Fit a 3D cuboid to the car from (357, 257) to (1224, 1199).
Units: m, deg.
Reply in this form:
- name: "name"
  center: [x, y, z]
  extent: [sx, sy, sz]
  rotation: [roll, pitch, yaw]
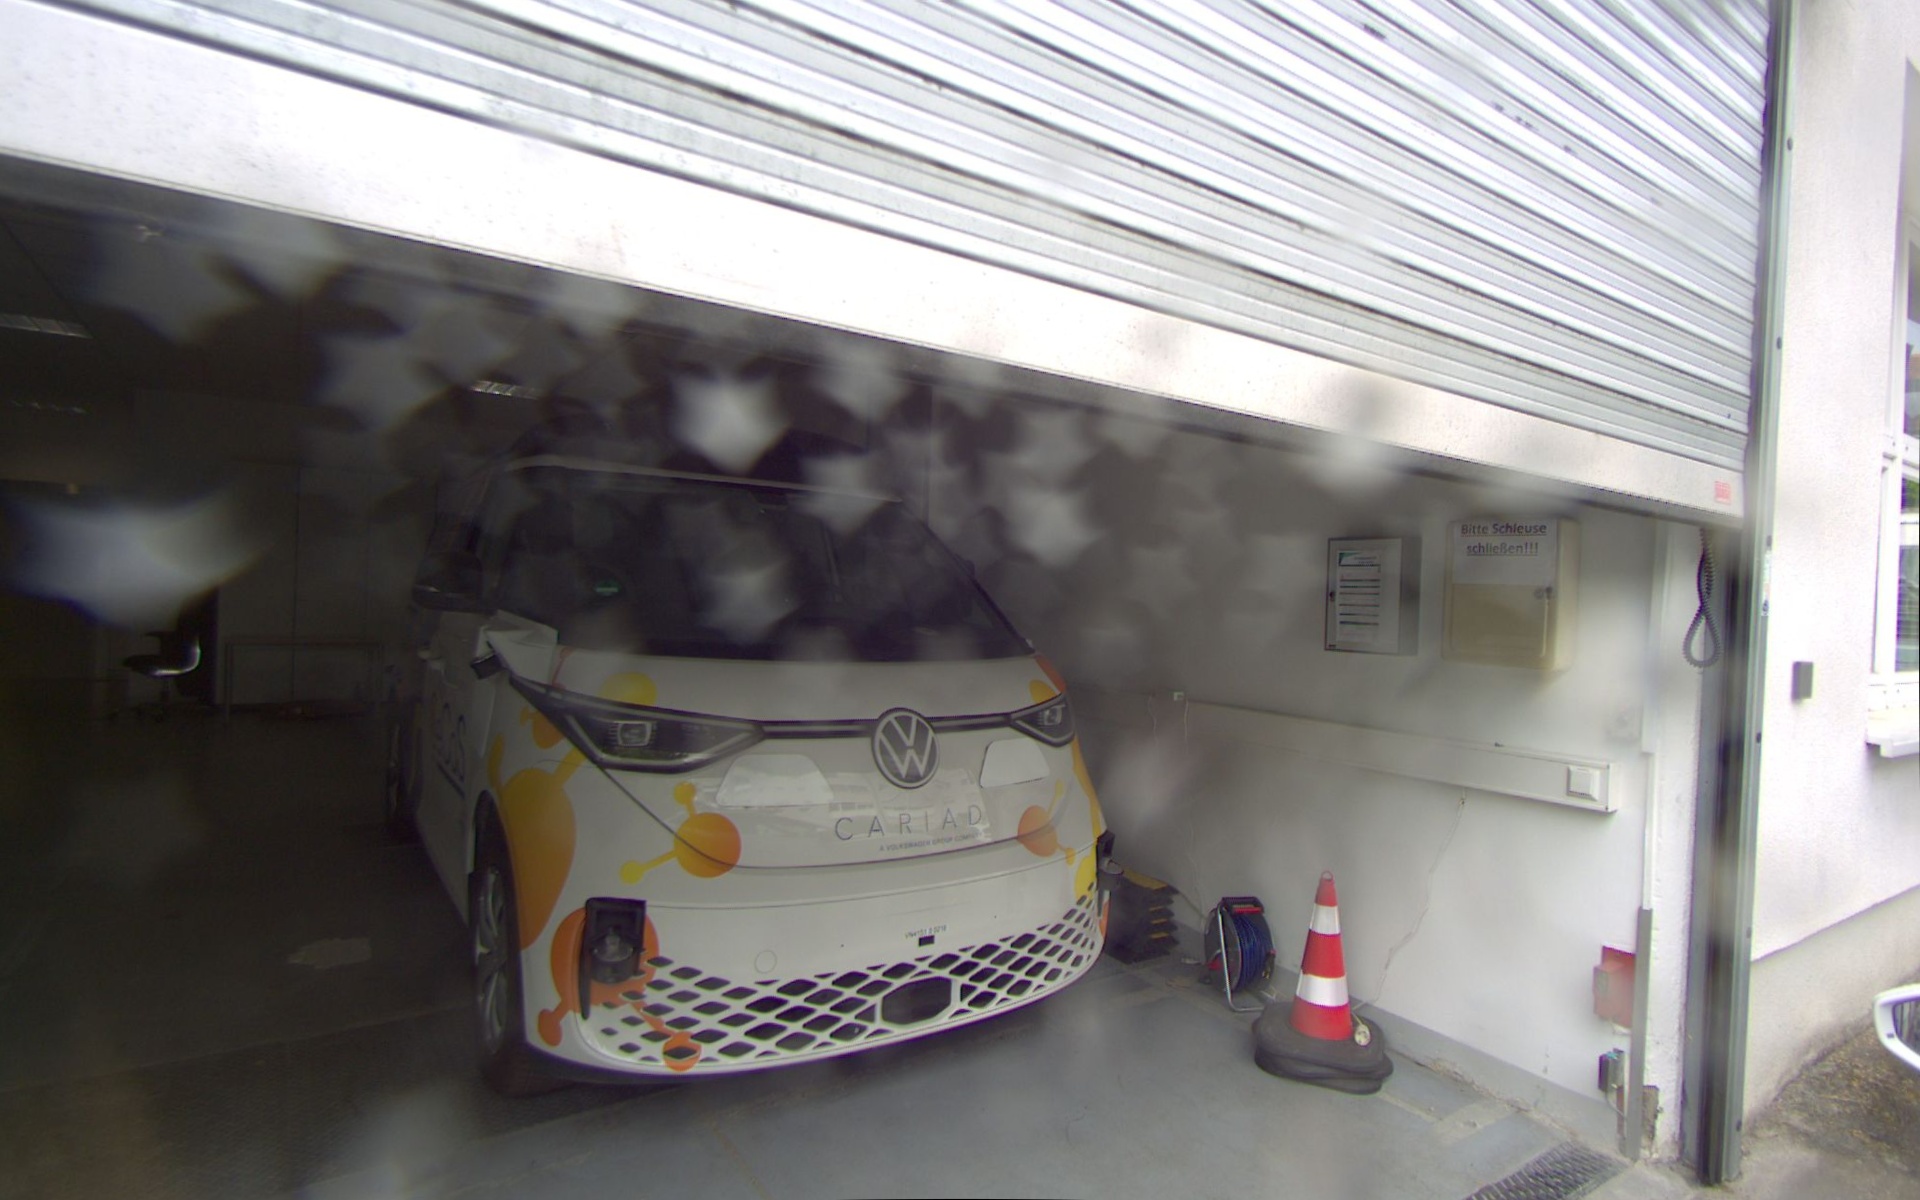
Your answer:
- name: "car"
  center: [-1.353, 0.259, 4.551]
  extent: [2.064, 2.040, 4.659]
  rotation: [2, 2, -34]
